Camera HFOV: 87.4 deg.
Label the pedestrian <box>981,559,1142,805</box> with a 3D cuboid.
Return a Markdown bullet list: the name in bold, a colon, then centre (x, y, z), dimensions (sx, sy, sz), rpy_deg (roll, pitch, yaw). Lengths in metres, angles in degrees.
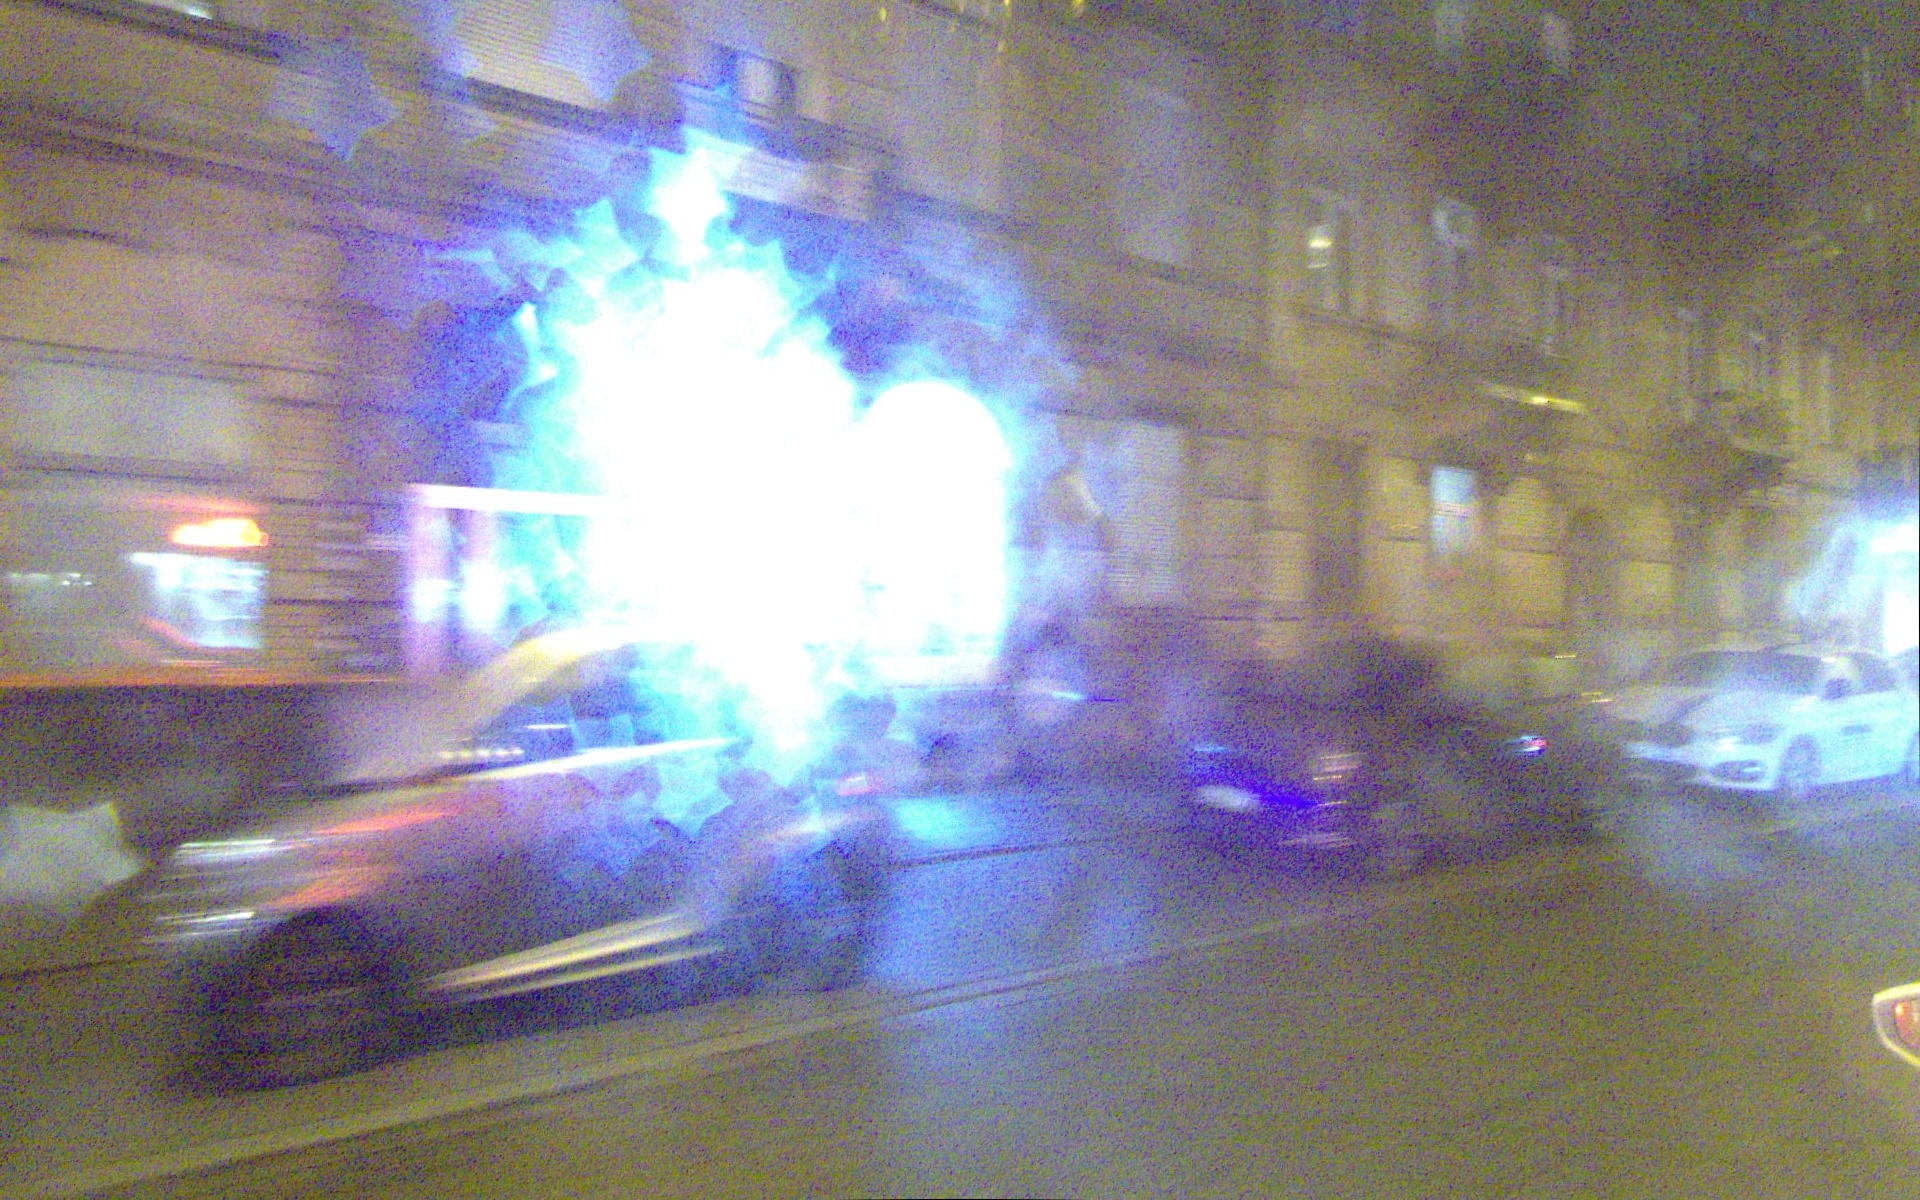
- **pedestrian**: centre (0.809, 0.642, 8.289), dimensions (1.017, 1.889, 0.974), rpy_deg (2, 0, -14)

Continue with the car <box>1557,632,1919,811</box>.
- **car**: centre (8.082, 1.067, 10.108), dimensions (4.265, 1.419, 1.682), rpy_deg (1, 0, -30)

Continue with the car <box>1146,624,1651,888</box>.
- **car**: centre (3.189, 0.922, 7.205), dimensions (3.461, 1.468, 1.579), rpy_deg (1, -1, -30)

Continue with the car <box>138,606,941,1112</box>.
- **car**: centre (-1.663, 0.811, 4.421), dimensions (2.754, 1.530, 1.579), rpy_deg (1, -1, -30)

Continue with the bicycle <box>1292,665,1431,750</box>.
- **bicycle**: centre (4.944, 1.303, 12.305), dimensions (1.990, 0.970, 0.447), rpy_deg (3, -3, -30)

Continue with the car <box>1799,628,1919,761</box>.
- **car**: centre (12.803, 1.130, 12.771), dimensions (4.567, 1.468, 1.746), rpy_deg (1, 1, -29)
